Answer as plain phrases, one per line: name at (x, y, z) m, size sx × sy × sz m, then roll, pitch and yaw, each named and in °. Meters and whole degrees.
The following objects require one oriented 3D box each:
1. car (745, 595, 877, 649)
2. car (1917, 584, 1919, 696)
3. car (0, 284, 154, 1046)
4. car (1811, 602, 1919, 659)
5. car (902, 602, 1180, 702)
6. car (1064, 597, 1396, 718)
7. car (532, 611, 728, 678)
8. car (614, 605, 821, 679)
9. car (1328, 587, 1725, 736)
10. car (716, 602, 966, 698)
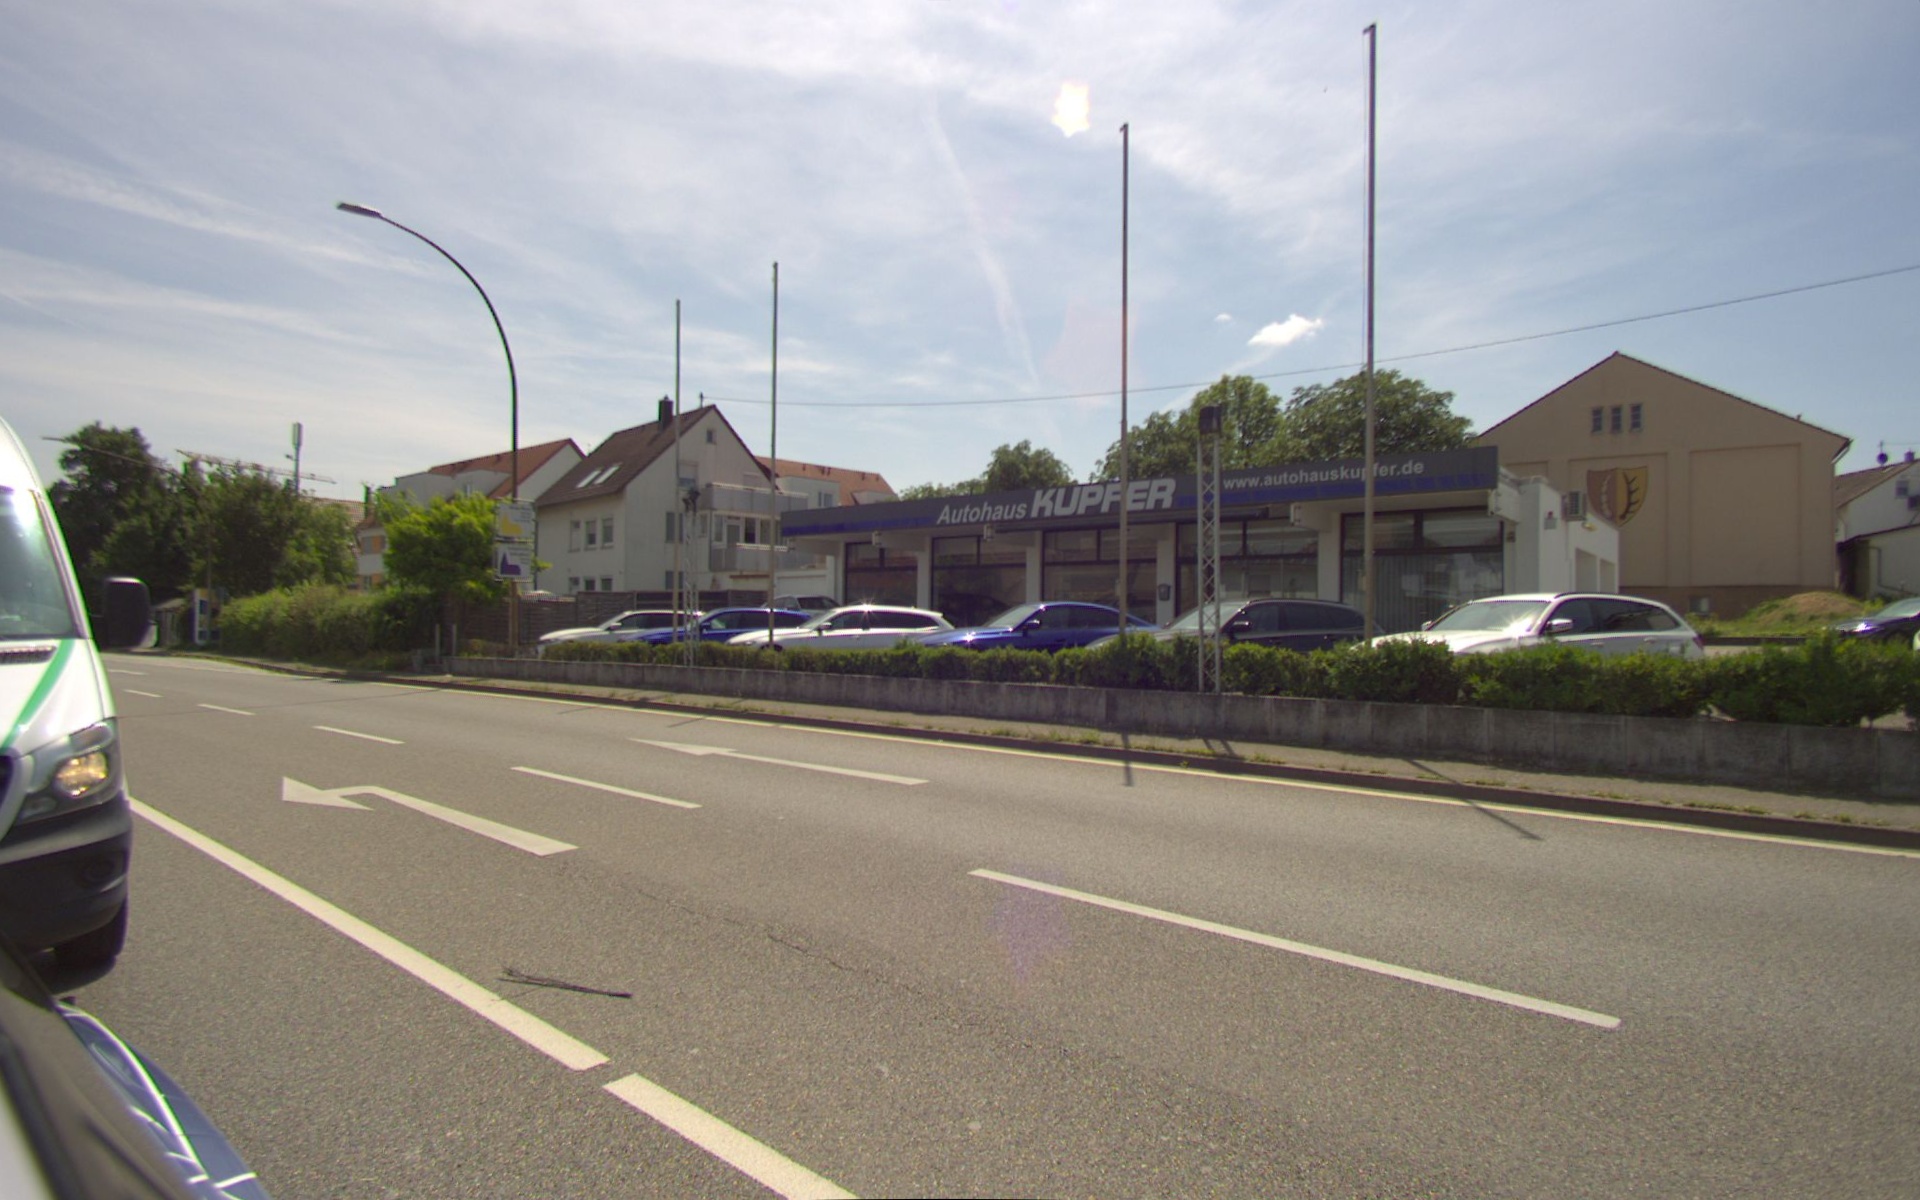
car at (-4.541, 0.650, 30.393) m, size 1.781 × 1.475 × 4.589 m, roll -1°, pitch 0°, yaw -40°
car at (15.174, 0.506, 14.202) m, size 3.934 × 1.521 × 1.839 m, roll -1°, pitch -1°, yaw -36°
car at (-5.740, 0.261, 4.828) m, size 5.745 × 2.548 × 1.914 m, roll -1°, pitch -1°, yaw 40°
car at (23.531, 0.697, 24.656) m, size 3.946 × 1.231 × 1.791 m, roll -2°, pitch 0°, yaw 2°
car at (1.329, 0.799, 17.034) m, size 4.268 × 1.458 × 1.863 m, roll -1°, pitch 0°, yaw -18°
car at (3.813, 0.704, 14.261) m, size 4.267 × 1.458 × 1.905 m, roll -1°, pitch 0°, yaw -24°
car at (-8.219, 1.061, 25.321) m, size 4.501 × 1.458 × 1.863 m, roll -1°, pitch 0°, yaw -21°
car at (-5.427, 0.871, 22.601) m, size 4.267 × 1.458 × 1.863 m, roll -1°, pitch 0°, yaw -21°
car at (6.624, 0.599, 11.817) m, size 4.267 × 1.458 × 1.863 m, roll -1°, pitch 0°, yaw -24°
car at (-2.324, 0.897, 19.642) m, size 4.438 × 1.458 × 1.863 m, roll -3°, pitch 1°, yaw -19°
